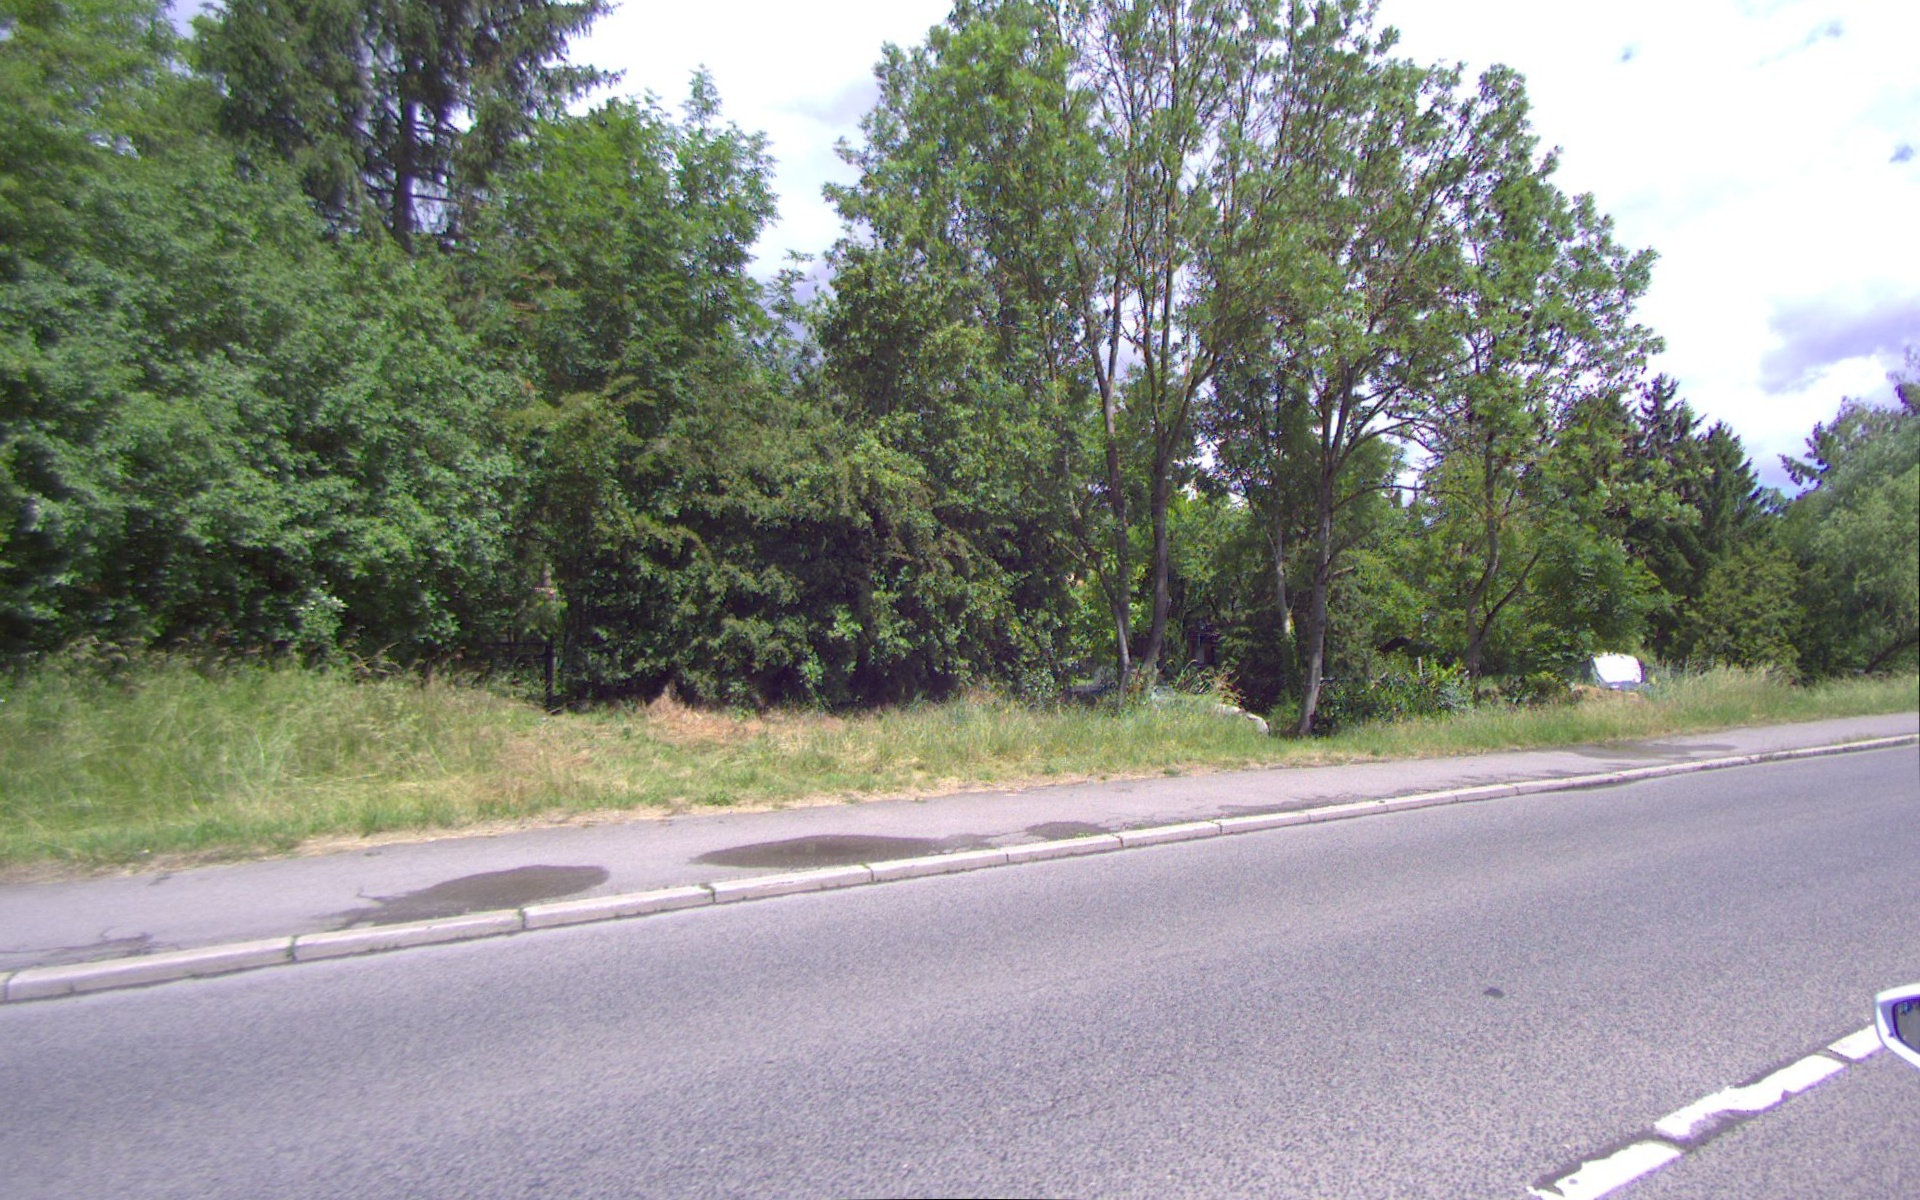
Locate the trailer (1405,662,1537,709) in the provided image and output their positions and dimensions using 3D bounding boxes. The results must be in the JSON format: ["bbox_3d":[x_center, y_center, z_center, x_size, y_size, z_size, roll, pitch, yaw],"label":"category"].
[{"bbox_3d":[18.483,3.043,36.502,1.970,1.576,3.982,1,-3,-21],"label":"trailer"}]

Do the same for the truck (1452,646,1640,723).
[{"bbox_3d":[21.712,3.084,37.658,1.970,2.643,6.196,1,-3,-21],"label":"truck"}]
